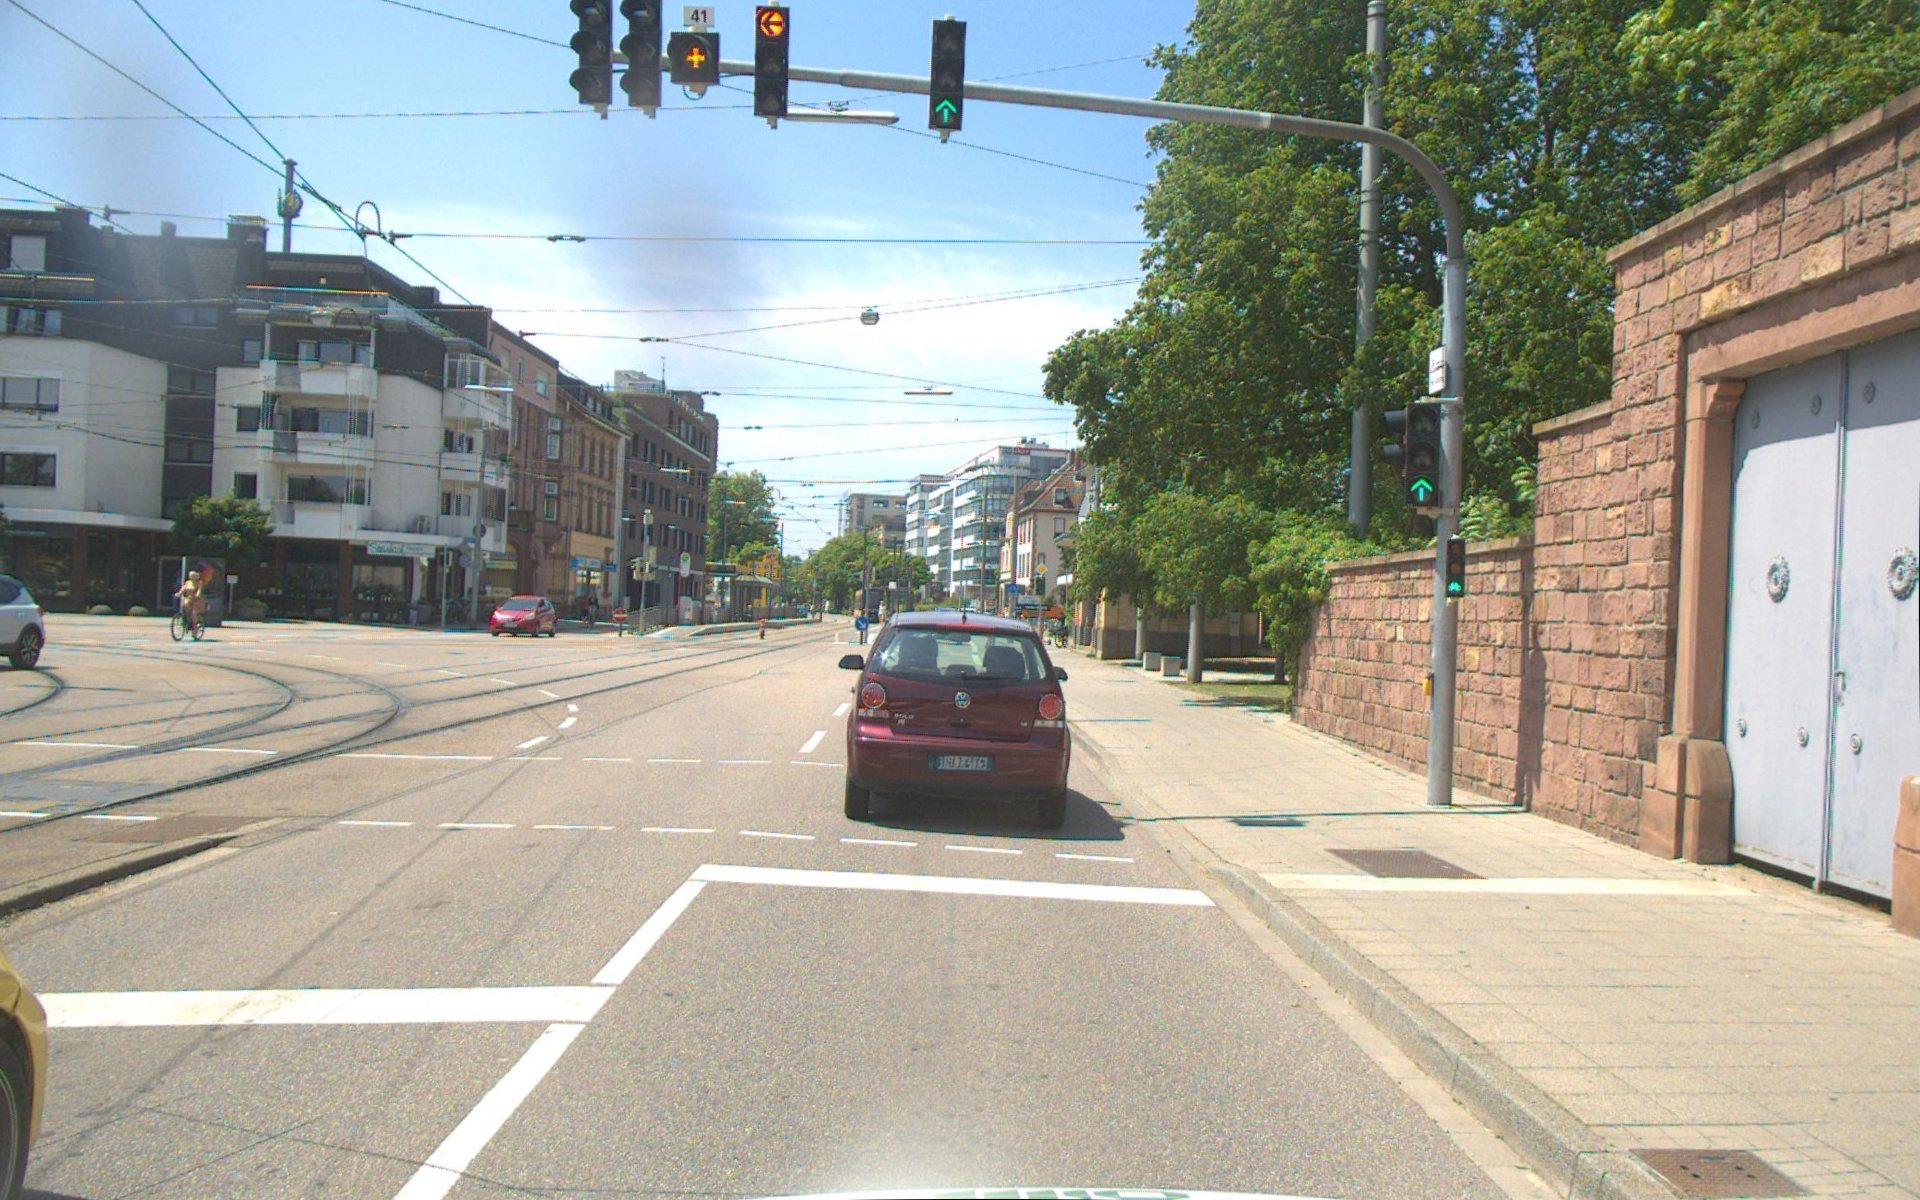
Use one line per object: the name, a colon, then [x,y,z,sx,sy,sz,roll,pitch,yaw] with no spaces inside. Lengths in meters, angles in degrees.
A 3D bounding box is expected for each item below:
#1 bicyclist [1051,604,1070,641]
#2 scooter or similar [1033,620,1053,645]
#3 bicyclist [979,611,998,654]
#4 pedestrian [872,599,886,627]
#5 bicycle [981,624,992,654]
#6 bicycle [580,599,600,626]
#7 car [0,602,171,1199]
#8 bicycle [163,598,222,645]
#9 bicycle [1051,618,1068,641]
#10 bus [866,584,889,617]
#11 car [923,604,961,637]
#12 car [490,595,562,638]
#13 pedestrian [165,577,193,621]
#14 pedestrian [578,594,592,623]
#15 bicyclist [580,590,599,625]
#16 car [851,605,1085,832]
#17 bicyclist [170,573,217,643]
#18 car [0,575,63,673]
bicyclist: [4.678,1.042,76.776,0.815,1.646,0.860,-1,0,0]
scooter or similar: [4.117,1.616,82.527,0.335,1.198,1.457,2,-1,-24]
bicyclist: [1.228,1.379,70.710,0.712,1.791,0.924,2,0,3]
pedestrian: [-5.017,0.825,102.753,0.747,1.704,1.100,2,-1,0]
bicycle: [1.141,1.650,70.544,0.367,1.218,1.906,2,0,3]
bicycle: [-19.212,0.645,85.918,0.663,1.327,2.104,2,0,-3]
car: [-2.807,0.726,2.454,1.583,1.446,3.654,0,0,-1]
bicycle: [-20.209,0.544,43.590,0.680,1.169,1.931,2,1,-1]
bicycle: [4.621,1.360,76.849,0.654,1.020,1.863,-1,0,0]
bus: [-8.136,0.078,163.063,2.102,3.055,6.568,2,0,-4]
car: [-0.934,1.070,88.167,1.953,1.653,4.631,2,0,0]
car: [-16.411,0.618,62.695,1.590,1.510,3.829,2,0,1]
pedestrian: [-30.979,-0.030,65.618,0.685,1.726,0.807,2,-1,-2]
pedestrian: [-21.004,0.479,92.571,0.602,1.588,0.640,2,0,-1]
bicyclist: [-19.231,0.400,85.894,0.718,1.793,1.134,2,0,-3]
car: [0.022,0.808,12.645,1.529,1.479,3.061,2,0,-1]
bicyclist: [-20.172,0.212,43.552,0.680,1.796,1.137,2,0,-1]
car: [-16.379,0.355,26.288,1.953,1.580,4.139,2,0,0]
